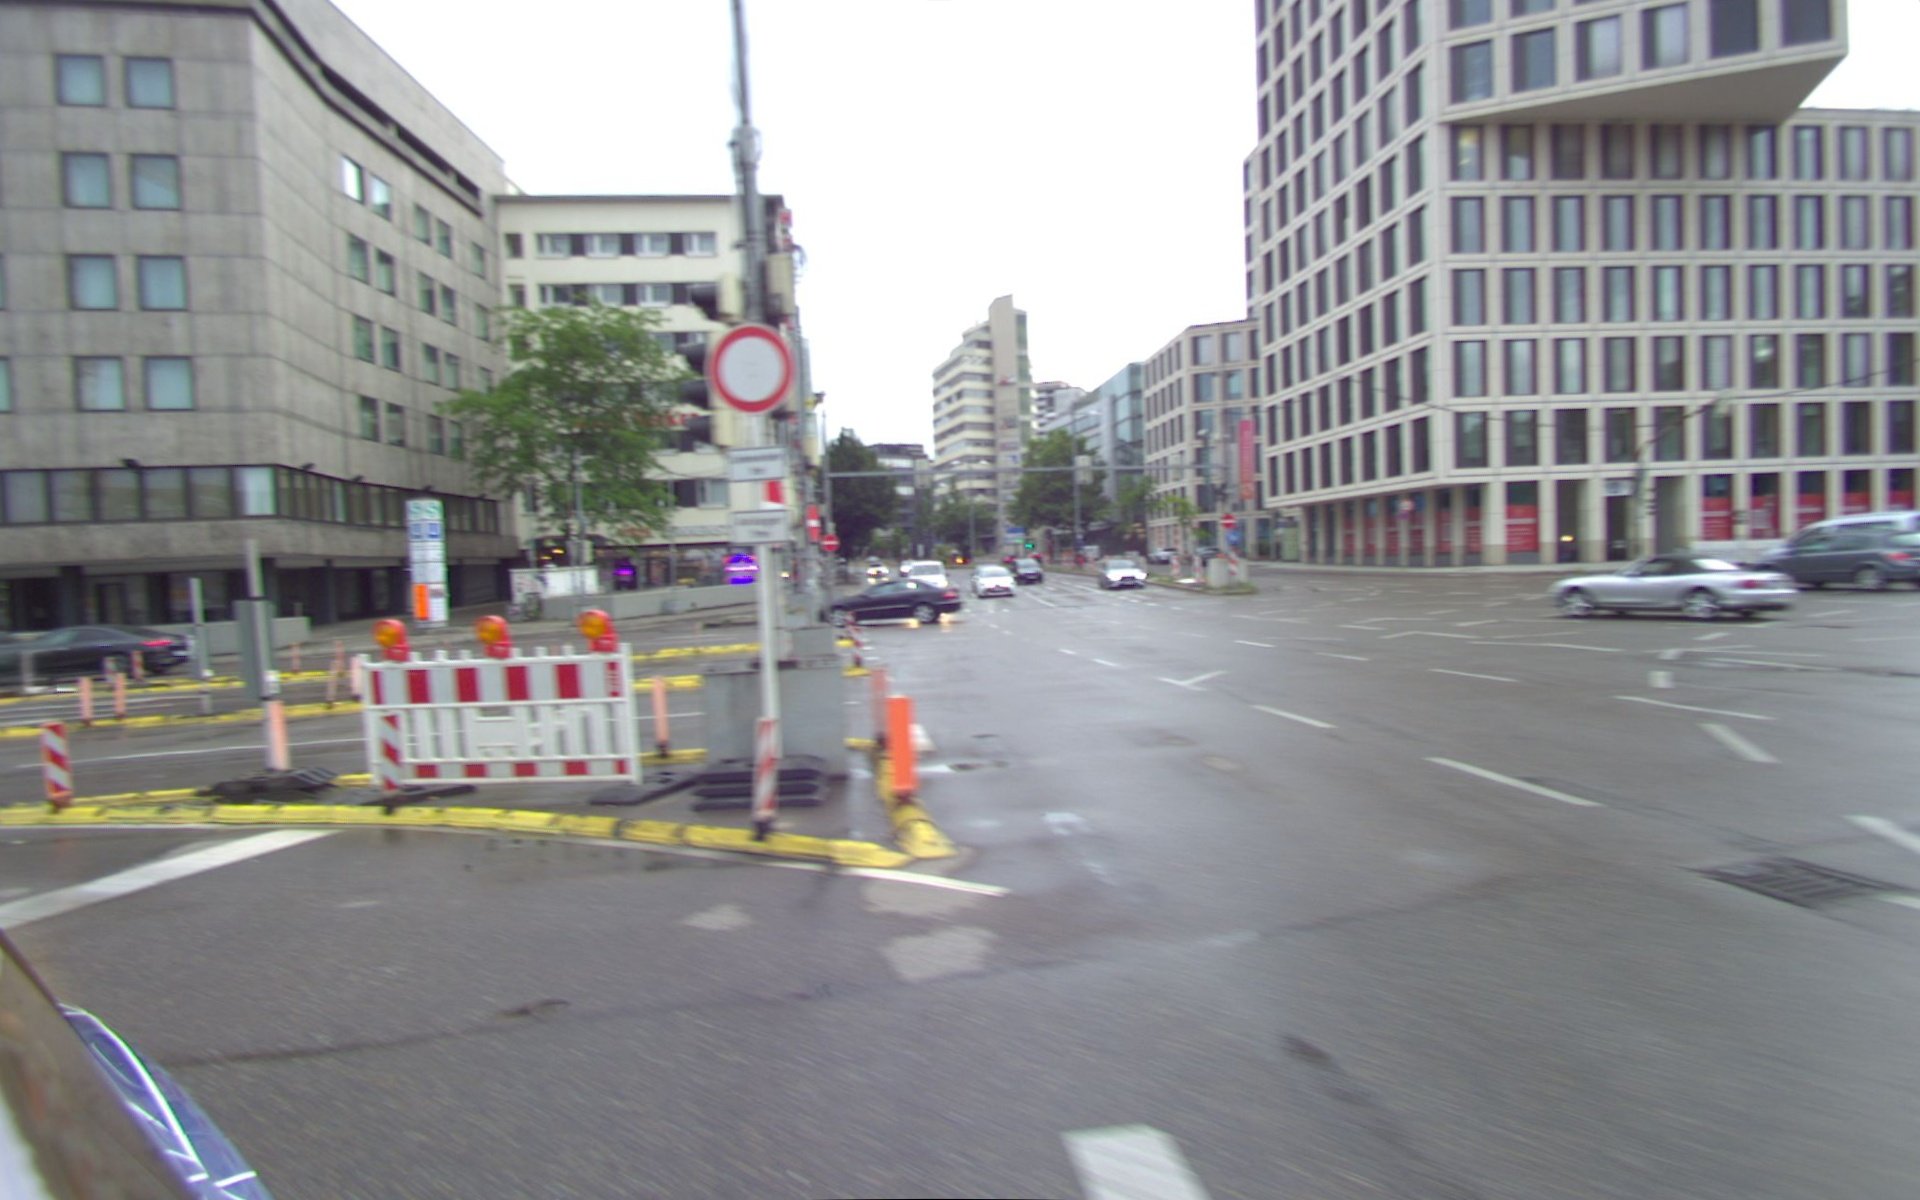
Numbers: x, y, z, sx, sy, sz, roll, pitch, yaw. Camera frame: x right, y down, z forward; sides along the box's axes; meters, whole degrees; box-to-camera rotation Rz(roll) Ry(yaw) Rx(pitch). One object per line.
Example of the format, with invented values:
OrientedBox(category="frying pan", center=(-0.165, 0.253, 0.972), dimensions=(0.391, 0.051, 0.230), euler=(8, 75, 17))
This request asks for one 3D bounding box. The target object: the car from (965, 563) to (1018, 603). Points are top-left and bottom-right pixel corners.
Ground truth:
OrientedBox(category="car", center=(1.474, -0.843, 49.711), dimensions=(1.988, 1.751, 4.669), euler=(-4, 2, -4))

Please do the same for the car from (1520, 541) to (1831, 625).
OrientedBox(category="car", center=(13.247, -0.288, 19.100), dimensions=(1.614, 1.319, 4.545), euler=(-4, 2, -25))

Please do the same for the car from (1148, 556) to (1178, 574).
OrientedBox(category="car", center=(19.158, -3.311, 95.671), dimensions=(1.841, 1.534, 4.002), euler=(-3, 1, -2))

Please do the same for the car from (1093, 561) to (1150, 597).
OrientedBox(category="car", center=(7.999, -1.072, 50.574), dimensions=(1.990, 1.610, 4.663), euler=(-4, 2, 0))

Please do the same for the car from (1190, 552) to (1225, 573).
OrientedBox(category="car", center=(20.484, -3.101, 83.914), dimensions=(1.841, 1.534, 4.000), euler=(-3, 1, 0))

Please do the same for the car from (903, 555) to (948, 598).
OrientedBox(category="car", center=(-1.732, -1.193, 50.758), dimensions=(2.057, 1.918, 5.088), euler=(-4, 2, -2))

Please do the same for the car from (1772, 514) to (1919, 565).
OrientedBox(category="car", center=(36.462, -2.488, 41.537), dimensions=(4.736, 1.766, 2.234), euler=(-3, 1, -9))

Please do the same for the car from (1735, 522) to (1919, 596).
OrientedBox(category="car", center=(21.614, -0.997, 24.627), dimensions=(1.821, 1.610, 4.190), euler=(-4, 2, -10))

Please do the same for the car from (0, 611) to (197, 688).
OrientedBox(category="car", center=(-22.700, 1.268, 25.900), dimensions=(4.591, 1.610, 2.022), euler=(-4, 1, -7))

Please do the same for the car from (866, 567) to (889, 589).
OrientedBox(category="car", center=(-8.140, -2.191, 100.268), dimensions=(1.897, 2.028, 4.001), euler=(-3, 1, -1))

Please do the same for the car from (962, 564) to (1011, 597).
OrientedBox(category="car", center=(1.408, -1.073, 56.177), dimensions=(1.987, 1.610, 4.671), euler=(-4, 2, -6))

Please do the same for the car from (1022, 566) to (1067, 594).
OrientedBox(category="car", center=(5.320, -1.278, 64.391), dimensions=(1.988, 1.610, 4.669), euler=(-4, 2, -4))

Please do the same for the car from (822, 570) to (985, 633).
OrientedBox(category="car", center=(-1.696, 0.025, 31.258), dimensions=(4.614, 1.610, 2.012), euler=(-3, 1, 11))

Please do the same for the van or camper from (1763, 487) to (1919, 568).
OrientedBox(category="van or camper", center=(25.069, -1.980, 27.993), dimensions=(1.821, 1.993, 4.265), euler=(-4, 2, -10))

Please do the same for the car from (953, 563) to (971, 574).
OrientedBox(category="car", center=(0.265, -4.776, 153.443), dimensions=(1.821, 1.610, 4.190), euler=(-4, 2, -10))

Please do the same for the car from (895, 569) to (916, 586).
OrientedBox(category="car", center=(-5.150, -2.113, 95.275), dimensions=(1.755, 1.494, 3.490), euler=(-4, 1, -5))
